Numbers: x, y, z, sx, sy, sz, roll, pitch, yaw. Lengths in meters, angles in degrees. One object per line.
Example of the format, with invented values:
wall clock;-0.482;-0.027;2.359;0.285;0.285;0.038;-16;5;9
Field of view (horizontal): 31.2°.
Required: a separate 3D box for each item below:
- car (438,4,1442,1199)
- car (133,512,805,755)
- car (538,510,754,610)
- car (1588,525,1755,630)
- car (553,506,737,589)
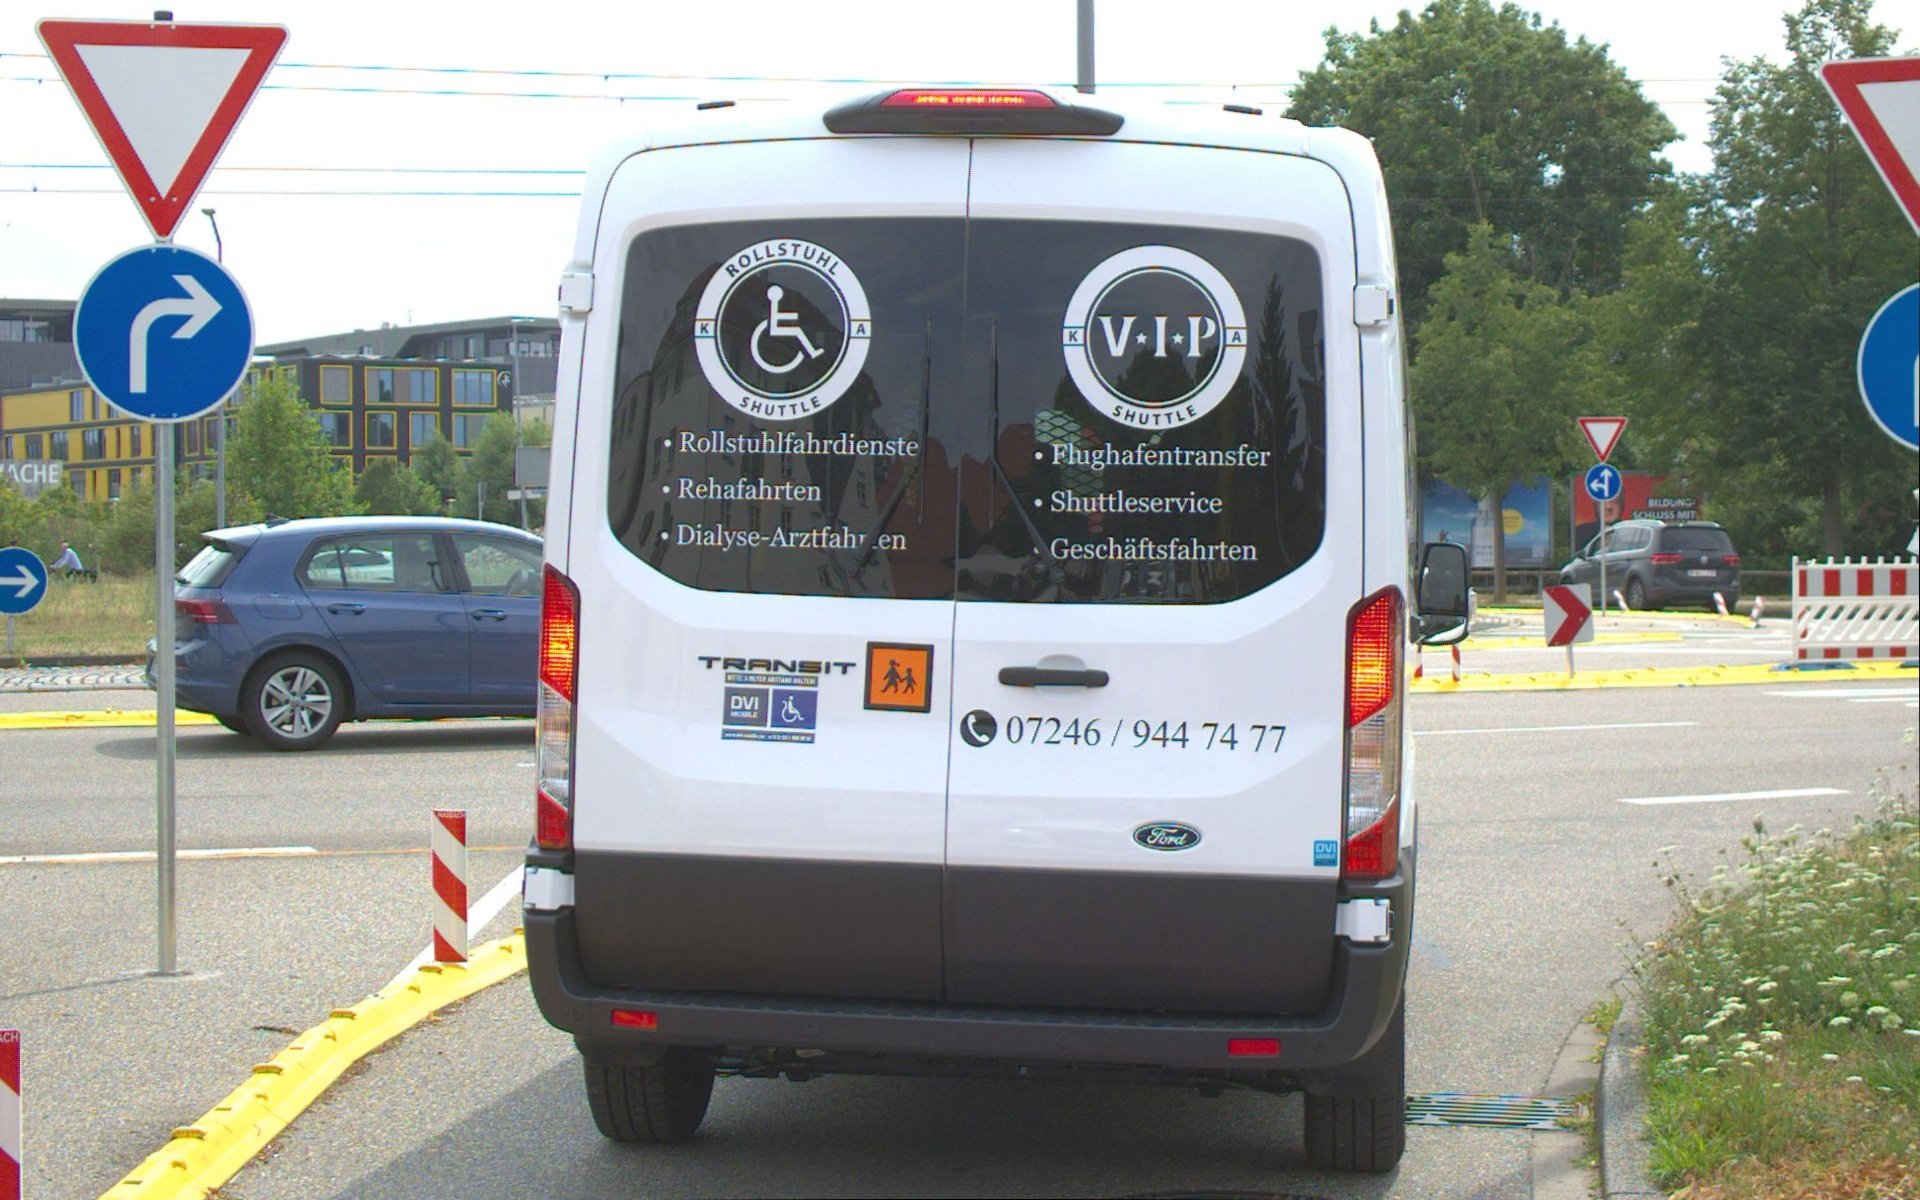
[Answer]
car;0.264;0.075;10.052;2.127;2.688;5.630;0;1;7
car;-3.254;0.173;22.683;4.102;1.492;1.802;-1;1;-20
car;-6.520;-0.831;71.520;3.991;2.007;1.998;1;0;20
car;12.355;-0.363;59.913;1.993;1.744;4.000;0;0;-1
car;-8.053;-1.321;87.800;4.346;2.007;2.001;1;0;-17
